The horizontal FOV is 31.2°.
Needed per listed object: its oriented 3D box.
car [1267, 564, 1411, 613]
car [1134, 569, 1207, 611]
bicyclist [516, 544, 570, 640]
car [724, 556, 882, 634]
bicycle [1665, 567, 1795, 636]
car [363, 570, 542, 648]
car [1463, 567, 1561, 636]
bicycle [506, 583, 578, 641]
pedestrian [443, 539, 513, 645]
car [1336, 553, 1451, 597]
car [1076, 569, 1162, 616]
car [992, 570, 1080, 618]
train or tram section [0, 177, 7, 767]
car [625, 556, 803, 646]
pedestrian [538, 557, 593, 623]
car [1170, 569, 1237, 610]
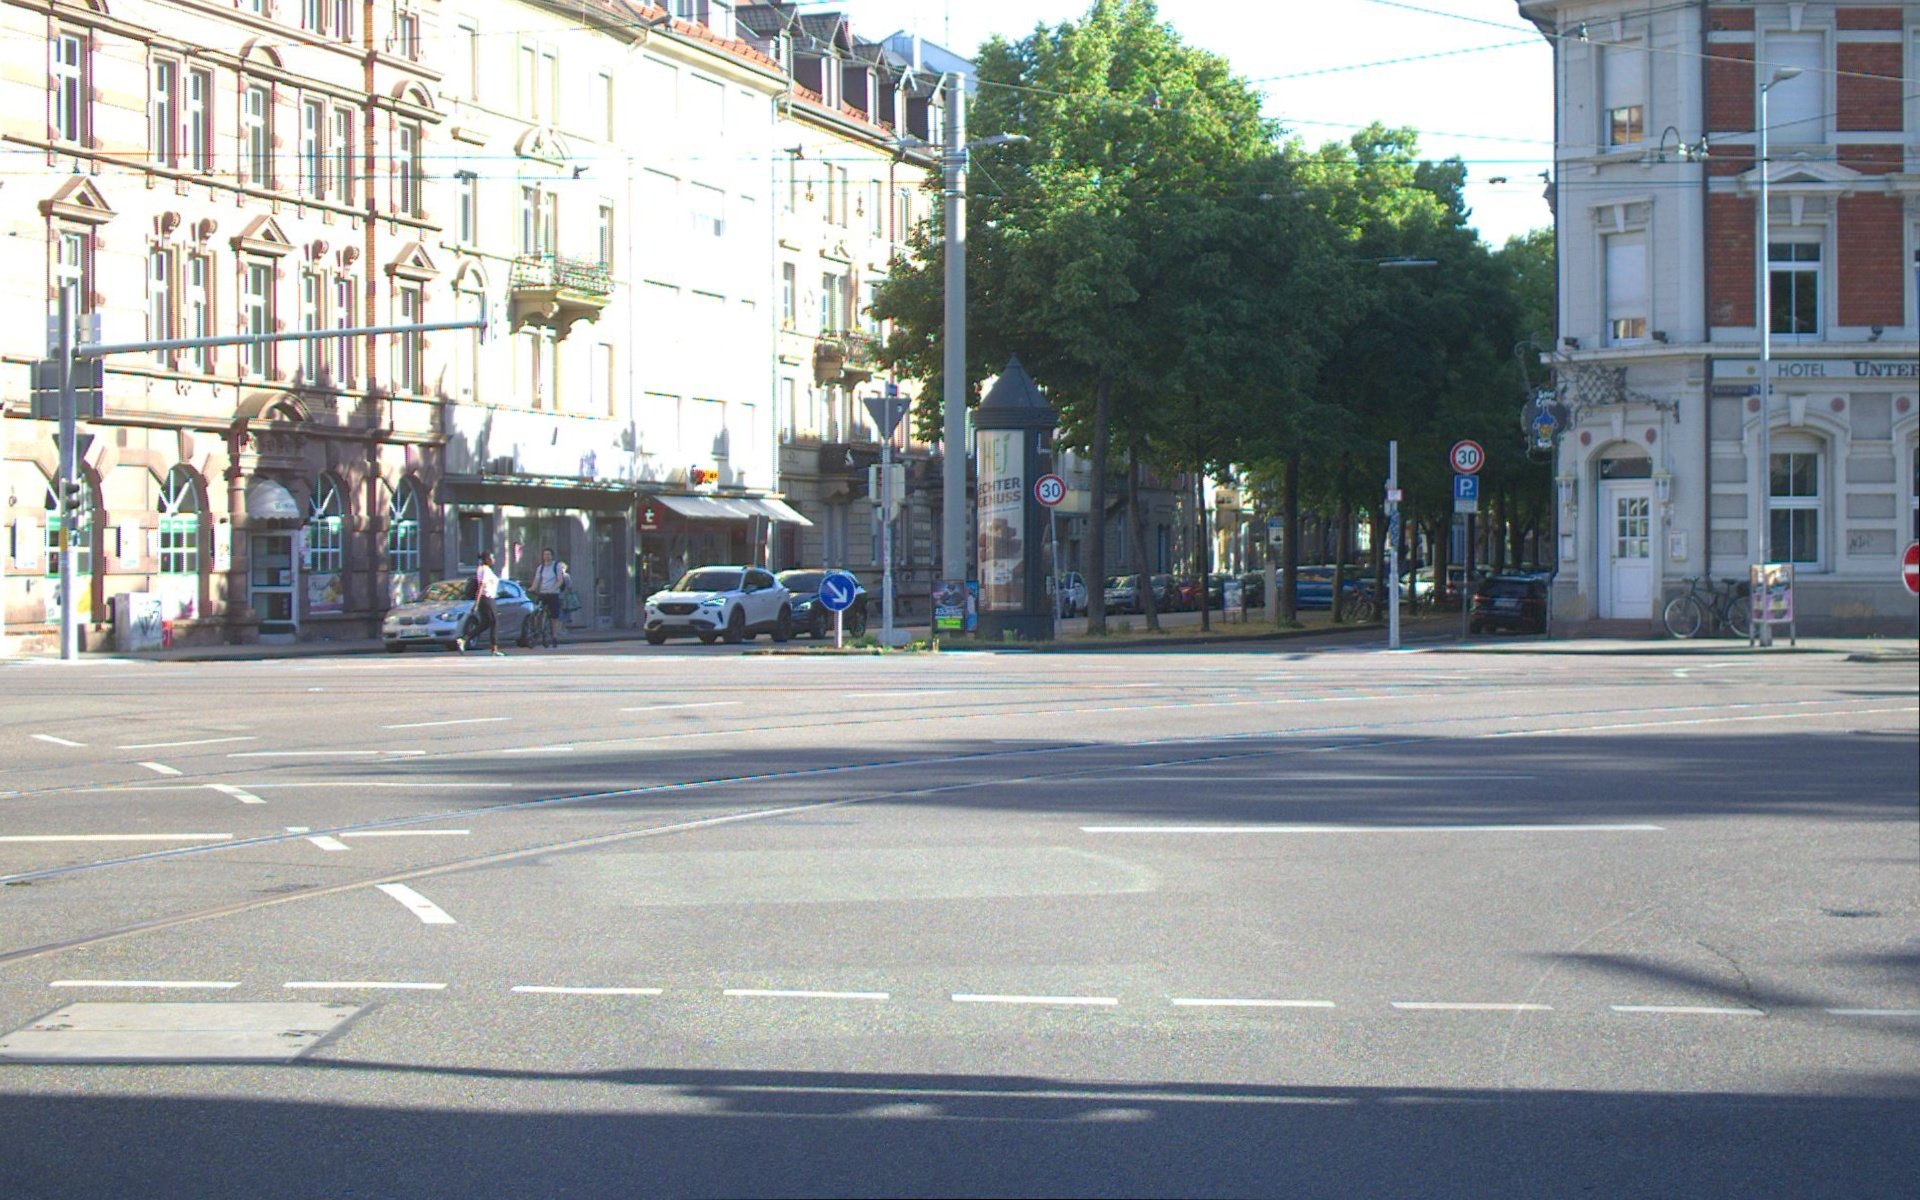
[{"bbox_3d":[12.723,-0.413,115.394,4.382,1.606,1.997,0,1,27],"label":"car"},{"bbox_3d":[8.012,-0.389,130.455,1.839,1.547,4.387,0,1,17],"label":"car"},{"bbox_3d":[-7.886,-0.159,65.044,0.679,1.814,1.070,0,1,12],"label":"bicyclist"},{"bbox_3d":[-3.328,-0.127,73.836,1.995,1.606,4.387,0,1,17],"label":"car"},{"bbox_3d":[12.850,0.021,57.391,2.085,1.120,0.367,1,0,-4],"label":"bicycle"},{"bbox_3d":[-9.861,0.152,67.047,1.900,1.450,3.997,0,1,17],"label":"car"},{"bbox_3d":[13.257,0.008,82.442,1.995,1.579,3.998,0,1,14],"label":"car"},{"bbox_3d":[-7.897,0.220,65.008,0.680,1.062,2.124,0,1,12],"label":"bicycle"},{"bbox_3d":[-7.977,-0.133,56.891,1.046,1.738,0.809,0,1,-15],"label":"pedestrian"},{"bbox_3d":[16.840,-0.979,133.626,3.993,1.700,1.997,0,1,30],"label":"car"},{"bbox_3d":[5.687,-0.273,122.664,1.995,1.607,4.387,0,1,17],"label":"car"},{"bbox_3d":[2.469,-0.201,110.962,1.995,1.481,3.998,0,1,14],"label":"car"},{"bbox_3d":[-6.431,-0.679,16.158,2.814,3.488,8.464,0,1,-9],"label":"train or tram section"},{"bbox_3d":[-4.772,-0.012,67.323,1.995,1.678,4.387,0,1,17],"label":"car"},{"bbox_3d":[-9.249,-0.249,80.621,0.929,1.530,1.136,0,1,14],"label":"pedestrian"},{"bbox_3d":[9.677,-0.436,136.332,1.766,1.544,4.387,0,1,16],"label":"car"}]
